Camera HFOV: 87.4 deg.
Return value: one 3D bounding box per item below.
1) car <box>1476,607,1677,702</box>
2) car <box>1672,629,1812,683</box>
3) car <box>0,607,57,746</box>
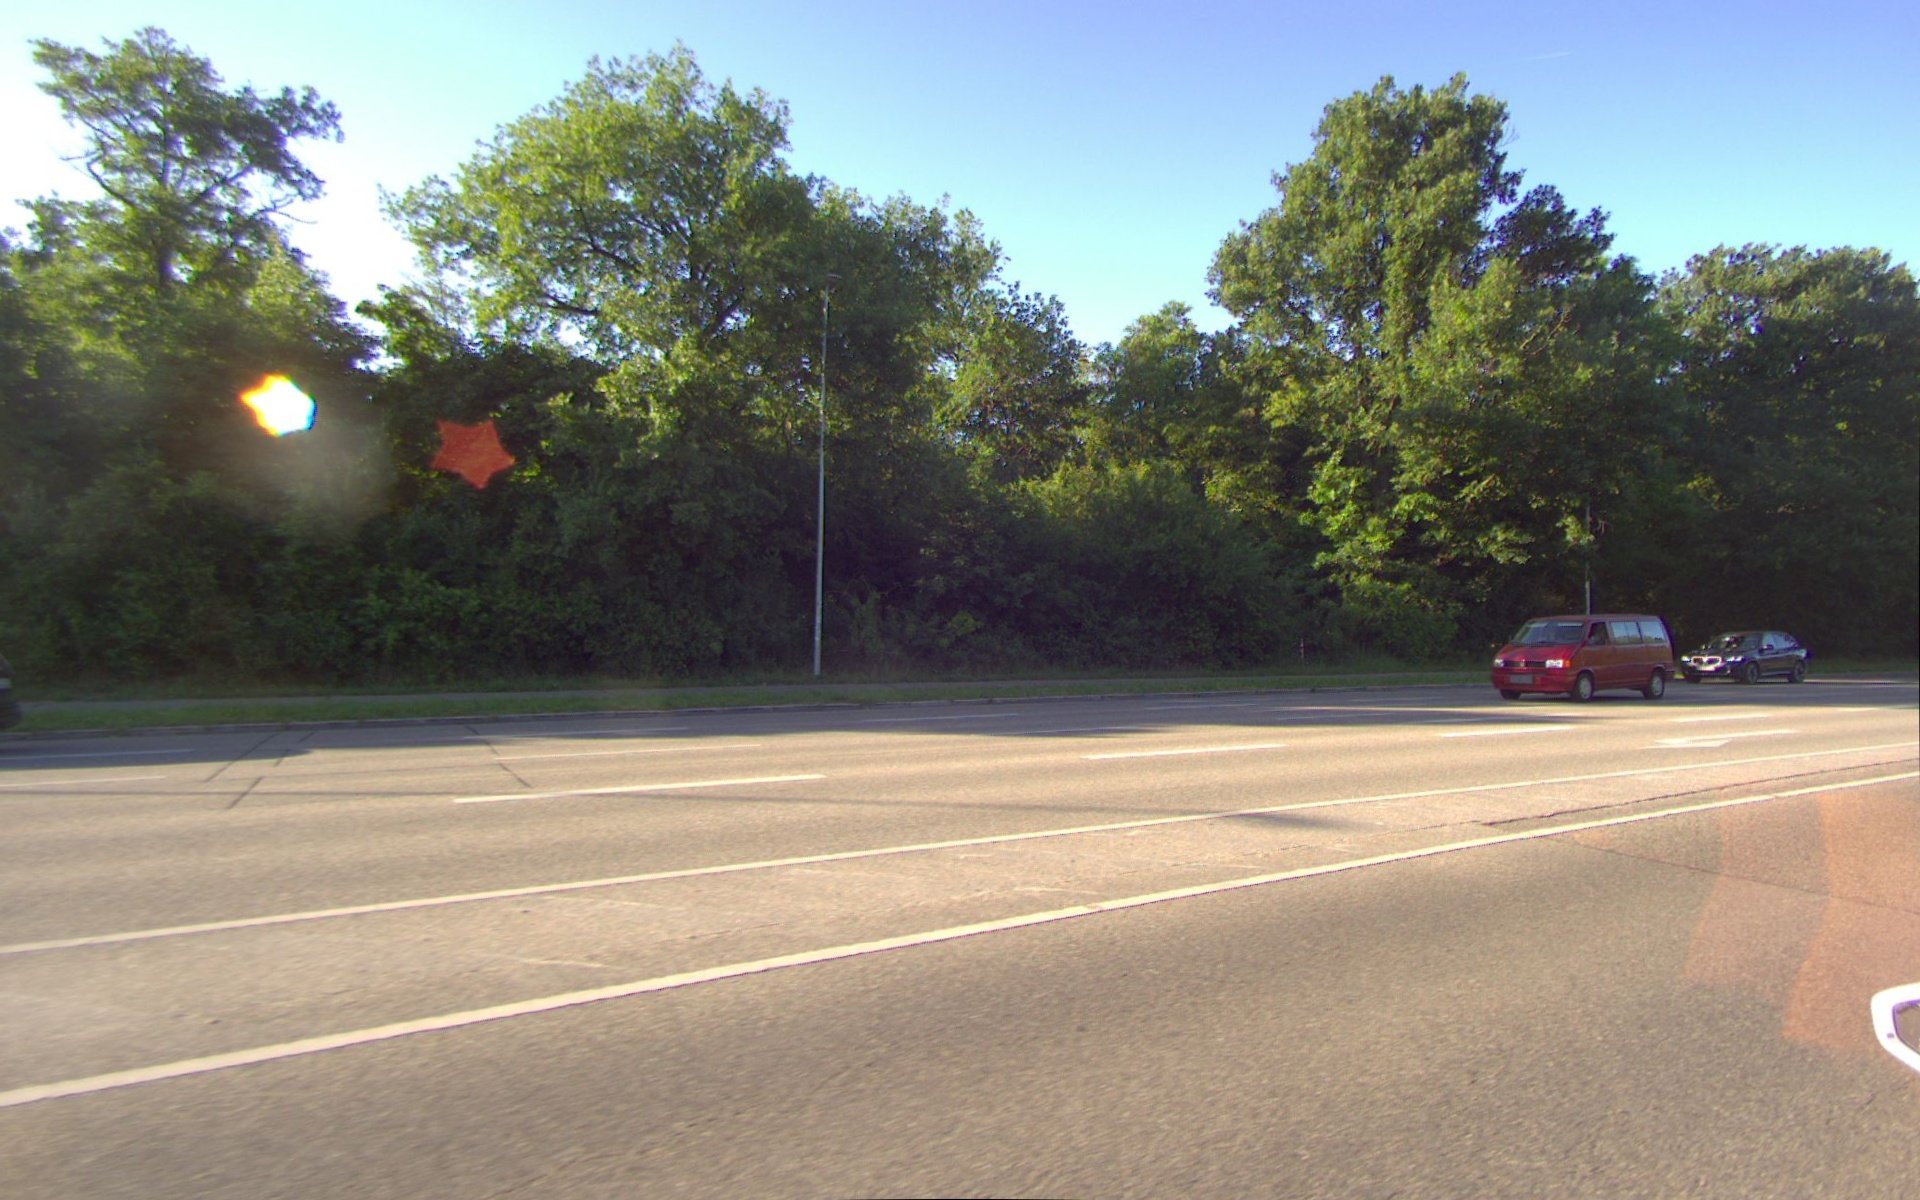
[{"bbox_3d":[14.164,1.246,23.050,4.593,1.987,1.985,2,-3,-30],"label":"car"},{"bbox_3d":[25.607,1.795,32.880,4.786,1.658,1.984,2,-2,-30],"label":"car"},{"bbox_3d":[-13.367,0.867,11.140,4.593,1.584,1.985,2,-4,-30],"label":"car"}]
